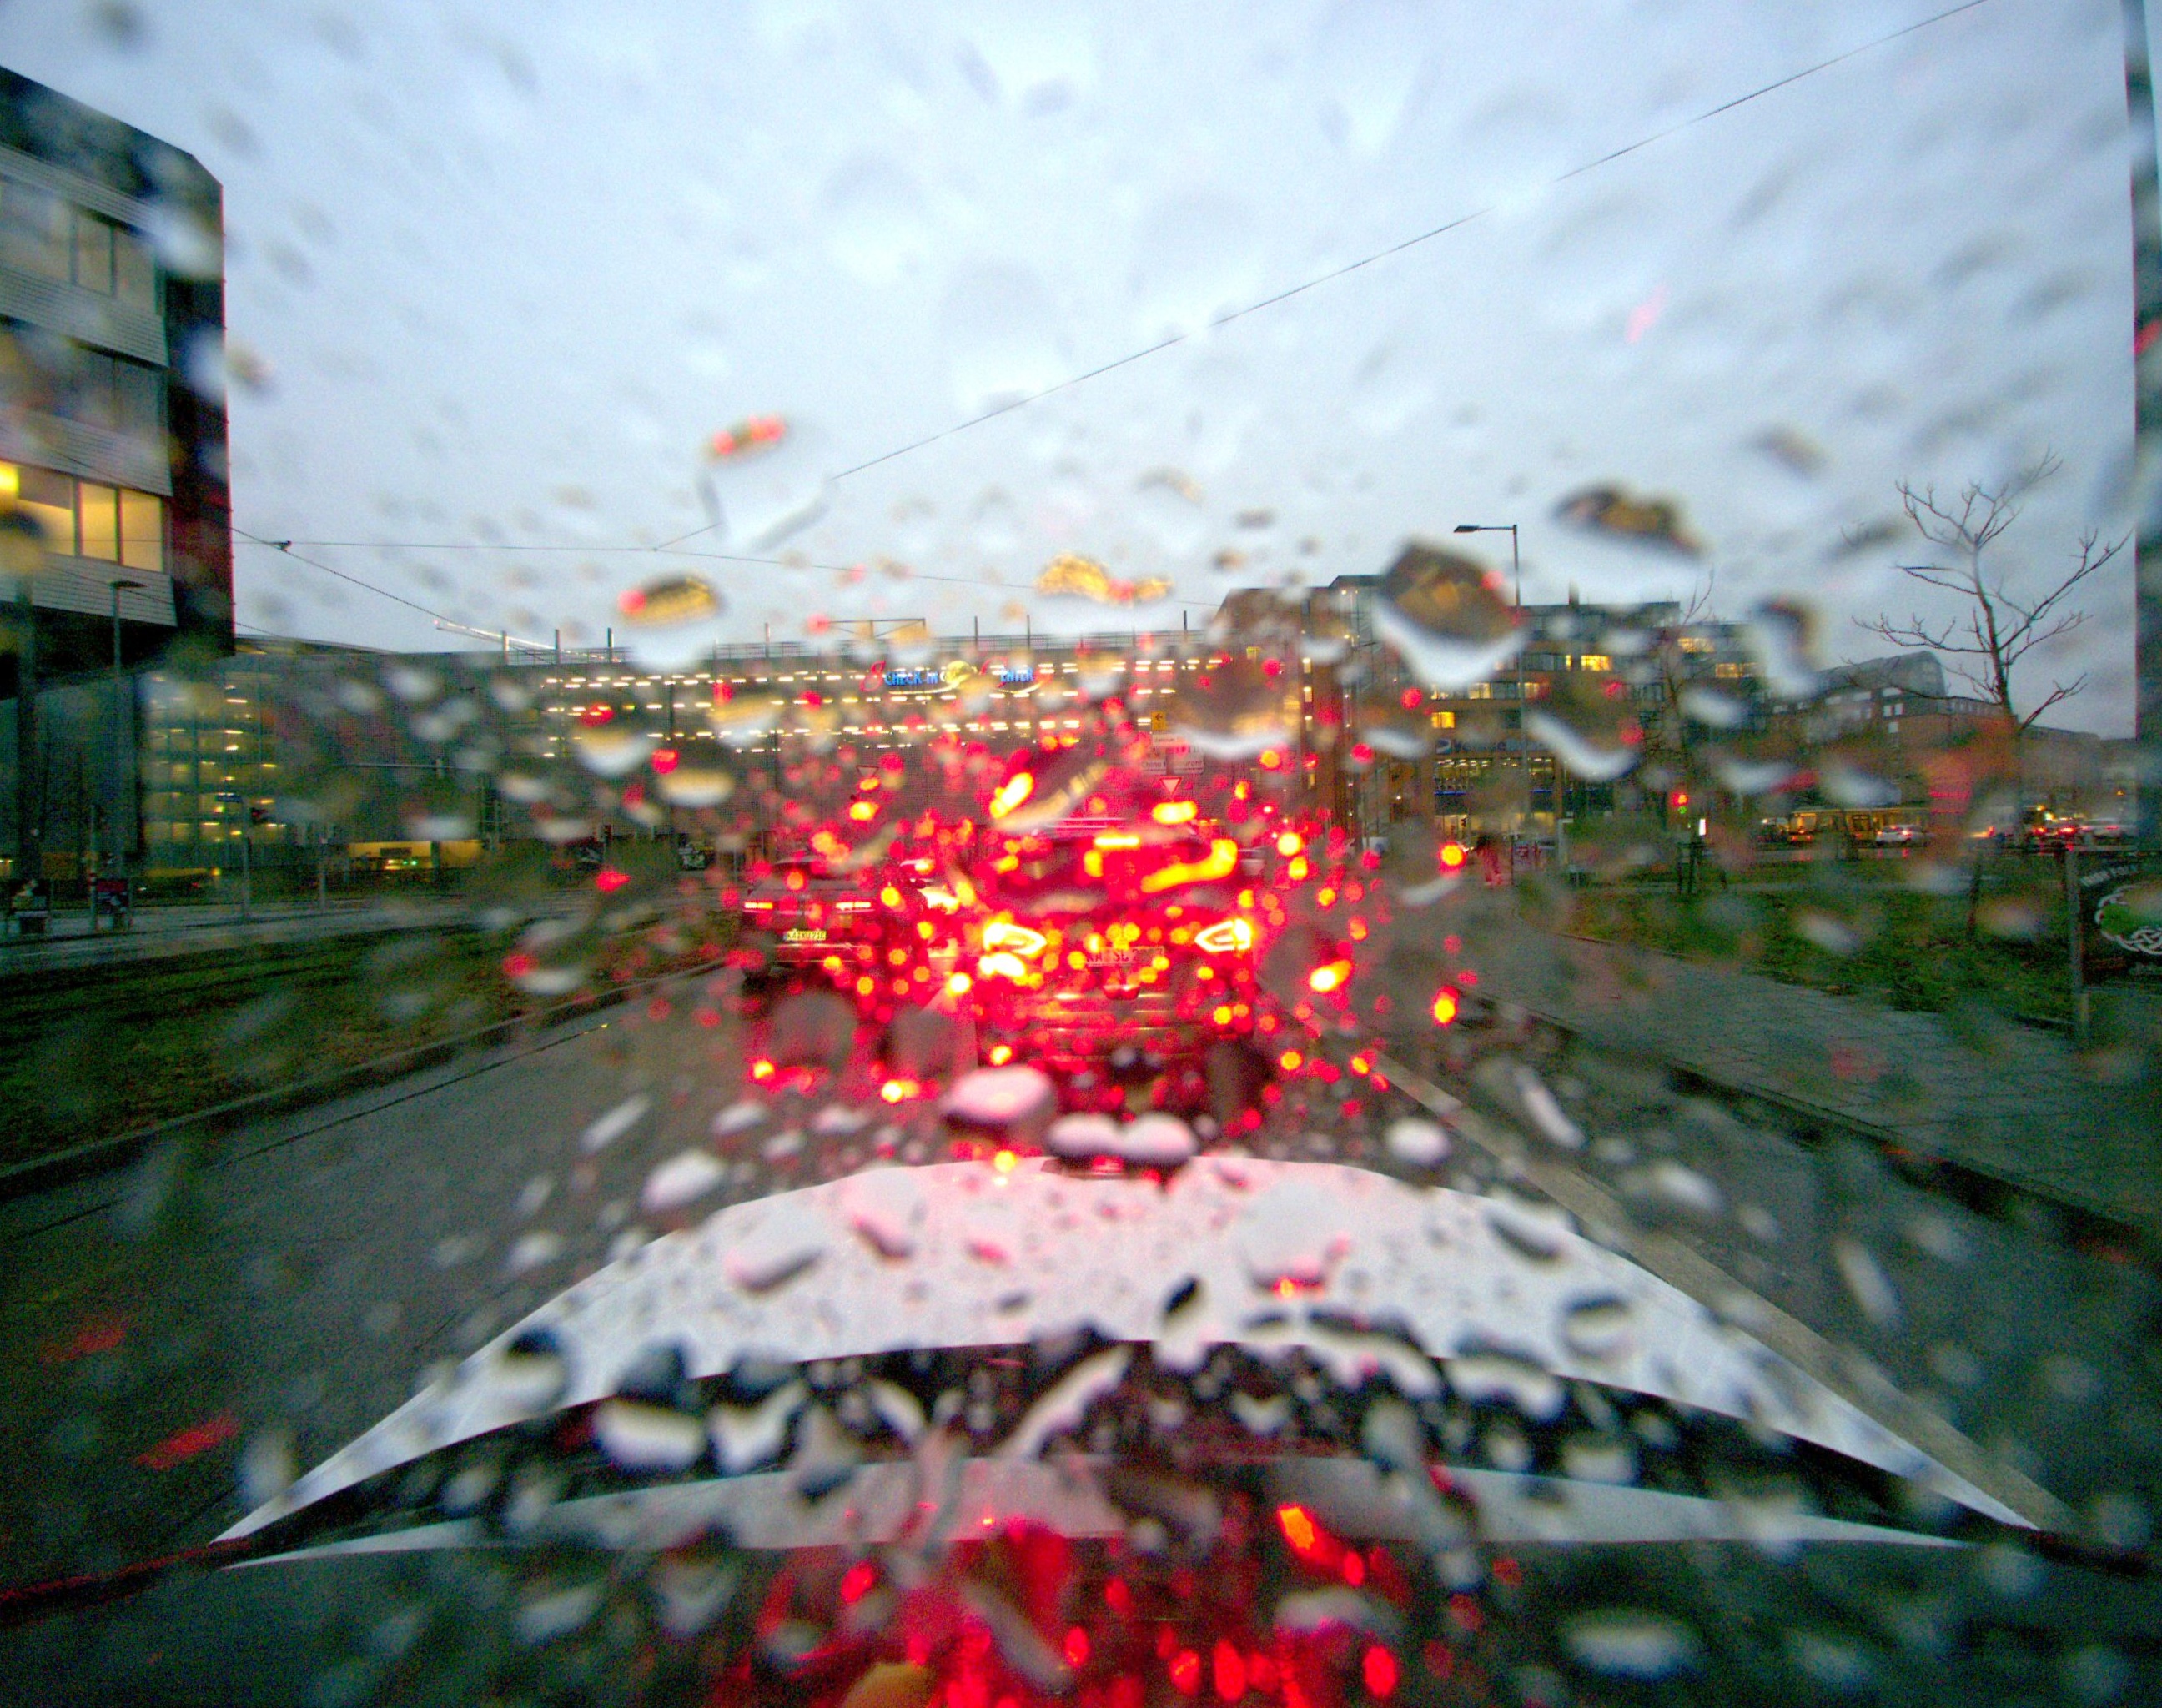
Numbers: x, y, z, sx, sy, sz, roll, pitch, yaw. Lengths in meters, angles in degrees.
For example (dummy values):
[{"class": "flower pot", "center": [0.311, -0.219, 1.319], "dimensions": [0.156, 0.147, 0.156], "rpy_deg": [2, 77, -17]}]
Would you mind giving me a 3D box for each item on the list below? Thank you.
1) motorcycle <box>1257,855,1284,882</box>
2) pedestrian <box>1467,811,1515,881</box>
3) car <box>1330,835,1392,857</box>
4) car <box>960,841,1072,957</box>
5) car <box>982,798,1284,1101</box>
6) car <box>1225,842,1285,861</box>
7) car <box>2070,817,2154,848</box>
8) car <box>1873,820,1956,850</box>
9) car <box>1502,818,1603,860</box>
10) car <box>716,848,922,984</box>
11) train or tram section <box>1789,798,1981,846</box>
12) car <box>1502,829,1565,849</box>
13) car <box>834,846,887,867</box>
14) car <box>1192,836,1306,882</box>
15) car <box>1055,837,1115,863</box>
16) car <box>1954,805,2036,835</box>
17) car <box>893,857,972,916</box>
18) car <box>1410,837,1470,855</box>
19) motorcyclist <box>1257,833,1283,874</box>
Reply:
[{"class": "motorcycle", "center": [7.344, 0.546, 31.618], "dimensions": [0.848, 0.972, 1.585], "rpy_deg": [-2, 0, 7]}, {"class": "pedestrian", "center": [11.447, -0.224, 22.792], "dimensions": [1.159, 1.924, 0.904], "rpy_deg": [1, 0, 25]}, {"class": "car", "center": [22.915, -0.659, 66.639], "dimensions": [4.413, 1.595, 1.796], "rpy_deg": [-2, 0, -6]}, {"class": "car", "center": [-1.028, 0.669, 13.861], "dimensions": [1.632, 1.697, 3.667], "rpy_deg": [-1, 0, -3]}, {"class": "car", "center": [0.294, 0.544, 6.830], "dimensions": [1.730, 1.738, 4.246], "rpy_deg": [1, 0, 0]}, {"class": "car", "center": [14.138, -0.213, 66.280], "dimensions": [4.413, 1.390, 1.796], "rpy_deg": [-2, 0, -6]}, {"class": "car", "center": [71.184, -1.451, 56.243], "dimensions": [4.362, 2.013, 1.990], "rpy_deg": [0, 0, -15]}, {"class": "car", "center": [56.706, -1.262, 55.428], "dimensions": [3.985, 2.013, 1.994], "rpy_deg": [0, 0, -9]}, {"class": "car", "center": [23.495, -0.734, 40.664], "dimensions": [3.987, 1.874, 1.994], "rpy_deg": [-3, 1, -10]}, {"class": "car", "center": [-3.523, 0.743, 11.747], "dimensions": [1.748, 1.574, 3.997], "rpy_deg": [-2, 0, -2]}, {"class": "train or tram section", "center": [63.334, -2.536, 64.024], "dimensions": [16.626, 3.260, 2.326], "rpy_deg": [-2, 0, -14]}, {"class": "car", "center": [38.388, -1.257, 69.192], "dimensions": [4.425, 1.534, 1.796], "rpy_deg": [-2, 0, -6]}, {"class": "car", "center": [-18.437, 0.199, 68.167], "dimensions": [3.978, 1.618, 1.736], "rpy_deg": [1, 0, -4]}, {"class": "car", "center": [7.530, 0.205, 36.771], "dimensions": [4.665, 1.851, 1.827], "rpy_deg": [-2, -1, -8]}, {"class": "car", "center": [0.294, -0.348, 68.461], "dimensions": [4.831, 2.000, 1.797], "rpy_deg": [-2, 0, -5]}, {"class": "car", "center": [64.352, -2.384, 57.348], "dimensions": [4.945, 2.013, 1.989], "rpy_deg": [-1, 1, -17]}, {"class": "car", "center": [-3.501, 0.713, 19.752], "dimensions": [1.538, 1.251, 4.059], "rpy_deg": [-1, 0, -6]}, {"class": "car", "center": [29.889, -0.660, 67.788], "dimensions": [4.209, 1.390, 1.796], "rpy_deg": [-2, 0, -6]}, {"class": "motorcyclist", "center": [7.332, -0.031, 31.635], "dimensions": [0.863, 1.534, 1.110], "rpy_deg": [-2, 0, 7]}]
